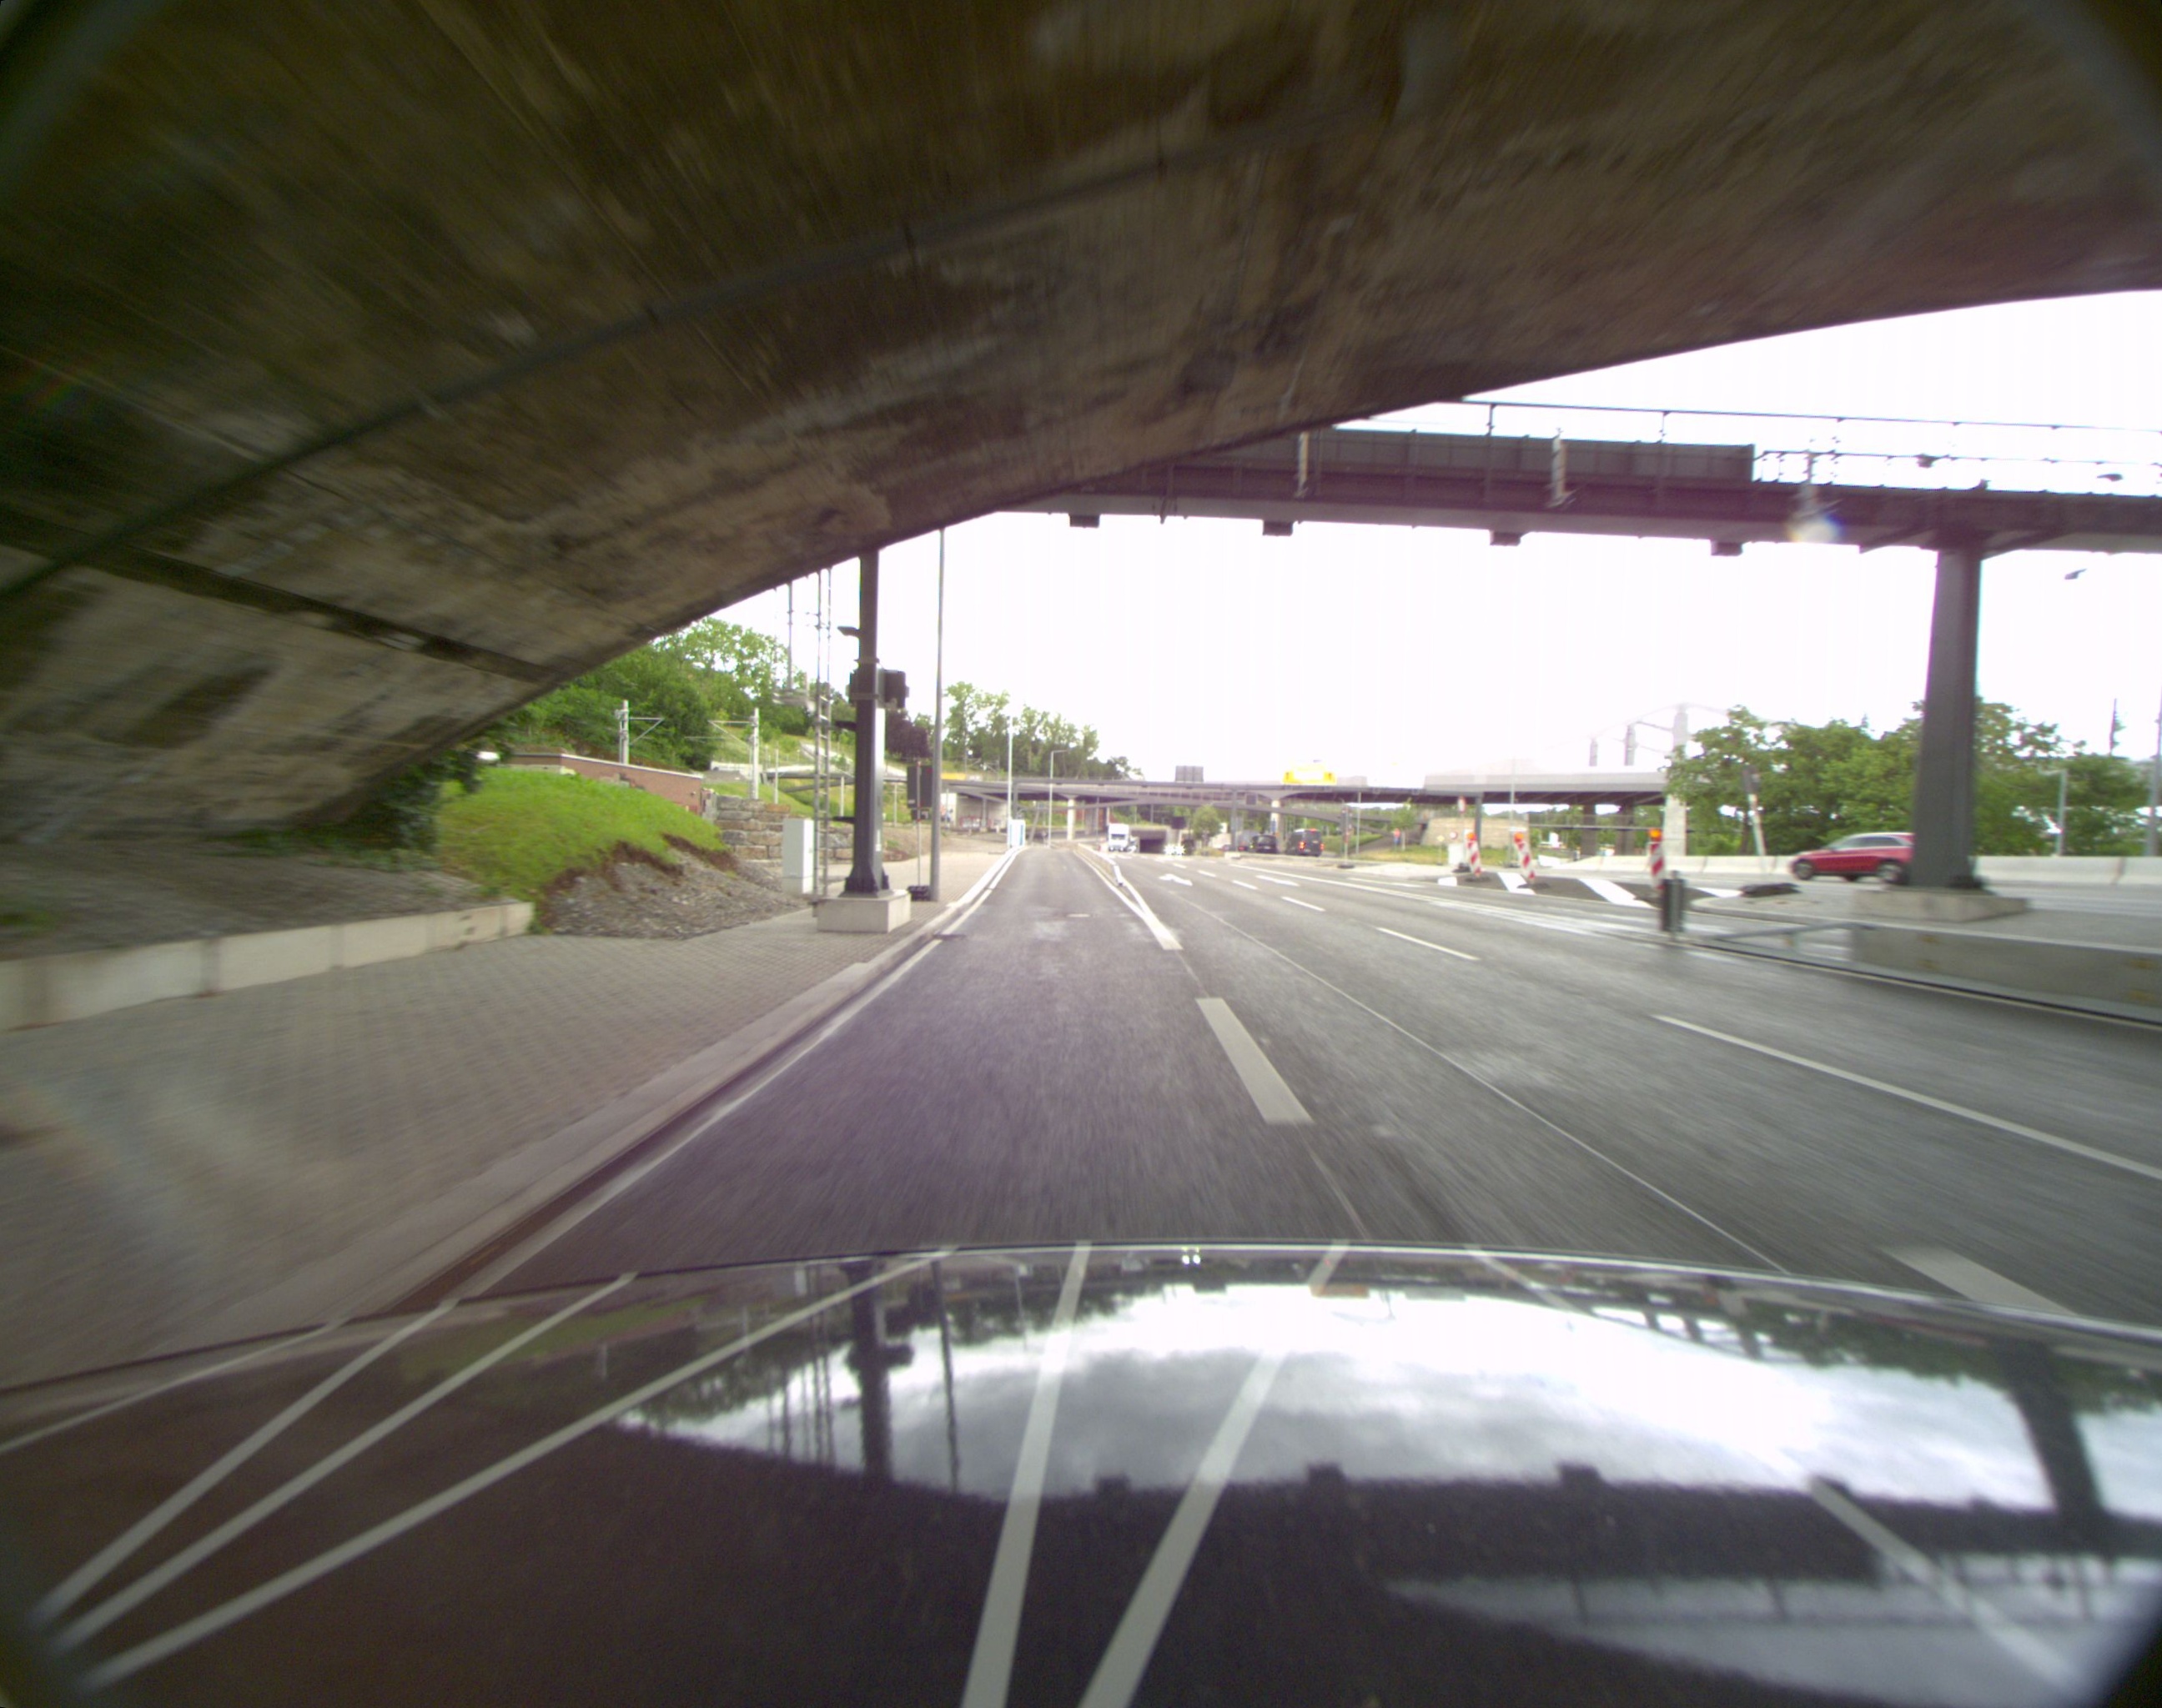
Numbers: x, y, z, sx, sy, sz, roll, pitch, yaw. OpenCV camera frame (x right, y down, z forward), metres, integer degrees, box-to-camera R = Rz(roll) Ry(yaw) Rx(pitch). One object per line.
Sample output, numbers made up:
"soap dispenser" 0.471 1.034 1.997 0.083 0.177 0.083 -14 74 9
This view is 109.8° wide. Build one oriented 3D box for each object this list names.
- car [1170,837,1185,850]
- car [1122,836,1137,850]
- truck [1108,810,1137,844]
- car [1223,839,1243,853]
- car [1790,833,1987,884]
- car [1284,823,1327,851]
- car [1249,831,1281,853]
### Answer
"car" 14.361 -1.567 112.923 1.866 1.827 4.208 1 1 11
"car" 7.050 -1.586 110.706 1.998 2.002 4.001 -2 1 4
"truck" 4.719 -3.020 87.823 3.032 3.566 8.951 -2 1 2
"car" 19.508 -0.996 97.494 1.998 1.641 4.001 -2 1 5
"car" 26.356 0.085 25.074 1.822 1.528 4.400 0 1 1
"car" 20.731 -1.536 70.486 2.295 2.476 6.195 0 1 2
"car" 17.246 -1.150 71.574 2.019 1.964 4.719 0 1 2
